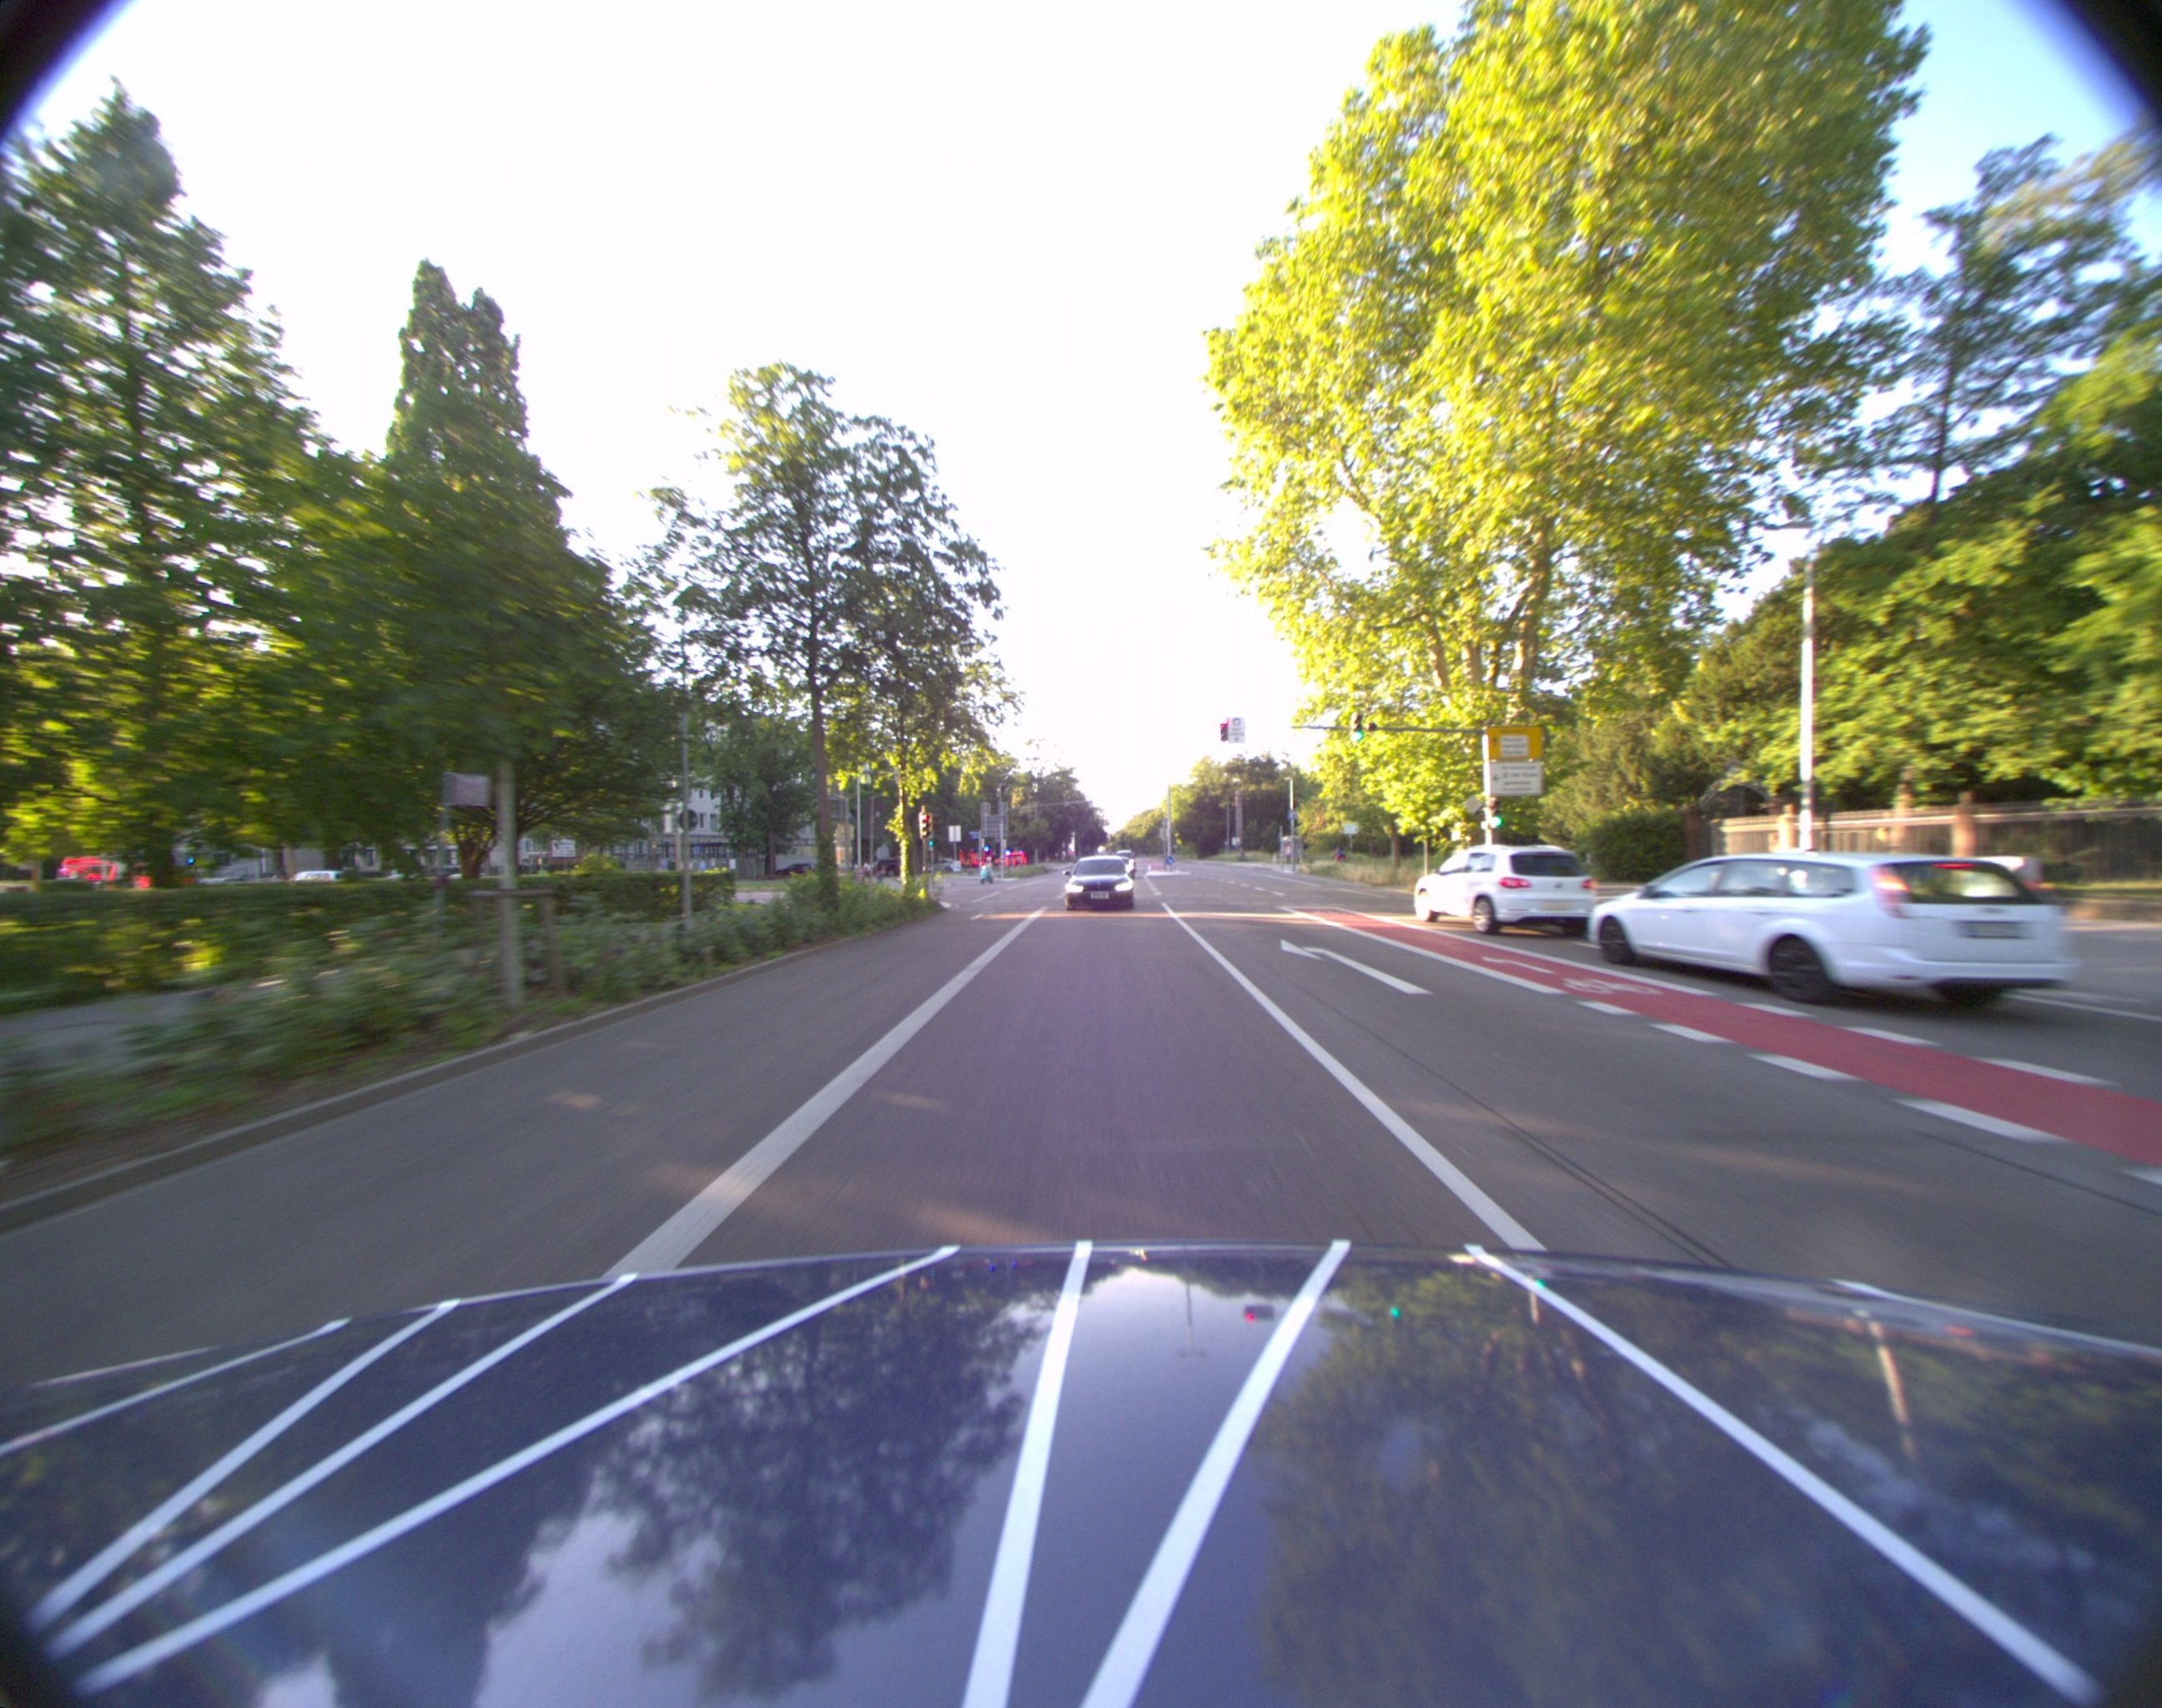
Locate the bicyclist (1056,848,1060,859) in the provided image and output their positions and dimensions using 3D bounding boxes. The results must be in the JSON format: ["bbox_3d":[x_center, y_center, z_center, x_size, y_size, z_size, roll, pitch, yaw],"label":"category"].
[{"bbox_3d":[-3.488,-0.051,115.543,0.571,1.623,1.038,-1,1,5],"label":"bicyclist"}]

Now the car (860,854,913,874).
[{"bbox_3d":[-17.991,0.943,70.381,4.232,1.730,1.920,-1,1,10],"label":"car"}]

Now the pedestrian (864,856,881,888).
[{"bbox_3d":[-11.396,0.967,41.521,0.682,1.744,0.689,-1,0,5],"label":"pedestrian"}]

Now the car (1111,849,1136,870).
[{"bbox_3d":[3.359,0.441,60.165,1.850,1.473,4.704,-4,0,3],"label":"car"}]

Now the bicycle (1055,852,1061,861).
[{"bbox_3d":[-3.475,0.355,115.567,0.571,1.233,1.899,-1,0,5],"label":"bicycle"}]

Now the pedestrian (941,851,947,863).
[{"bbox_3d":[-21.205,0.520,117.690,0.682,1.831,0.846,-1,0,6],"label":"pedestrian"}]

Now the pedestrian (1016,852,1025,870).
[{"bbox_3d":[-5.802,0.662,72.779,0.721,1.650,0.776,-1,1,-1],"label":"pedestrian"}]

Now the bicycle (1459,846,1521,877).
[{"bbox_3d":[18.301,0.305,34.065,0.859,1.011,2.189,-1,10,-31],"label":"bicycle"}]

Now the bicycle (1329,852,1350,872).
[{"bbox_3d":[16.576,0.519,48.678,0.791,1.249,1.980,-1,1,5],"label":"bicycle"}]

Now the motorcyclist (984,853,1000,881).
[{"bbox_3d":[-5.673,0.824,48.416,0.739,1.727,0.691,-2,0,16],"label":"motorcyclist"}]

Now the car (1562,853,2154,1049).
[{"bbox_3d":[7.856,0.793,8.580,1.921,1.574,4.674,0,0,1],"label":"car"}]

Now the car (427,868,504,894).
[{"bbox_3d":[-41.482,1.830,51.214,3.993,1.630,1.902,-1,1,12],"label":"car"}]

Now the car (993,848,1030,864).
[{"bbox_3d":[-10.474,0.282,114.068,5.162,2.379,2.001,-1,1,8],"label":"car"}]

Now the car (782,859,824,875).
[{"bbox_3d":[-28.511,1.341,77.963,3.623,1.451,1.771,-1,1,7],"label":"car"}]

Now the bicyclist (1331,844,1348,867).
[{"bbox_3d":[16.562,0.087,48.648,0.791,1.419,0.892,-1,1,5],"label":"bicyclist"}]

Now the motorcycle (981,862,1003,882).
[{"bbox_3d":[-5.658,1.135,48.414,0.683,1.190,1.896,-2,0,16],"label":"motorcycle"}]

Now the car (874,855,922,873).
[{"bbox_3d":[-17.613,0.985,73.197,3.993,1.601,1.920,-1,1,12],"label":"car"}]

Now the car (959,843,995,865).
[{"bbox_3d":[-15.957,-0.104,117.020,2.769,3.225,8.304,-1,0,11],"label":"car"}]

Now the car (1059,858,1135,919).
[{"bbox_3d":[0.551,0.865,21.456,1.817,1.391,5.214,-2,0,3],"label":"car"}]

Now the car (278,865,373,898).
[{"bbox_3d":[-49.522,1.800,49.819,4.490,1.851,2.057,-4,0,9],"label":"car"}]

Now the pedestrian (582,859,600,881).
[{"bbox_3d":[-39.342,1.310,60.996,0.894,1.729,0.705,-1,1,13],"label":"pedestrian"}]

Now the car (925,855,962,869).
[{"bbox_3d":[-15.497,0.916,85.527,3.661,1.451,1.665,-1,1,10],"label":"car"}]

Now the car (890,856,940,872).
[{"bbox_3d":[-16.604,1.013,76.161,4.514,1.455,1.920,-1,1,8],"label":"car"}]

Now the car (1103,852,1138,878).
[{"bbox_3d":[2.359,0.618,45.207,1.850,1.346,4.704,-4,0,3],"label":"car"}]

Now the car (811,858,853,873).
[{"bbox_3d":[-27.325,1.255,83.352,3.910,1.513,1.919,-1,1,14],"label":"car"}]

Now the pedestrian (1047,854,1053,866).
[{"bbox_3d":[-4.099,0.759,99.977,0.682,1.613,0.689,-1,0,5],"label":"pedestrian"}]

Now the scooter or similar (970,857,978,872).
[{"bbox_3d":[-9.035,0.877,64.198,0.441,1.264,1.179,-1,1,5],"label":"scooter or similar"}]

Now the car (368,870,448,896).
[{"bbox_3d":[-46.041,1.997,52.013,3.993,1.602,2.001,-1,1,11],"label":"car"}]

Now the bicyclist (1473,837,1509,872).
[{"bbox_3d":[18.335,-0.002,33.979,0.859,1.425,0.940,-2,10,-31],"label":"bicyclist"}]

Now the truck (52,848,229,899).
[{"bbox_3d":[-64.029,1.329,51.777,10.260,3.122,2.642,-2,1,8],"label":"truck"}]

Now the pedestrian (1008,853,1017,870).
[{"bbox_3d":[-6.619,0.719,73.001,0.737,1.514,0.789,-1,1,0],"label":"pedestrian"}]

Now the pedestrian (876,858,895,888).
[{"bbox_3d":[-10.659,1.016,41.455,0.682,1.613,0.845,-1,0,5],"label":"pedestrian"}]

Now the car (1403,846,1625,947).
[{"bbox_3d":[8.262,0.710,15.067,1.921,1.686,4.426,0,0,1],"label":"car"}]
